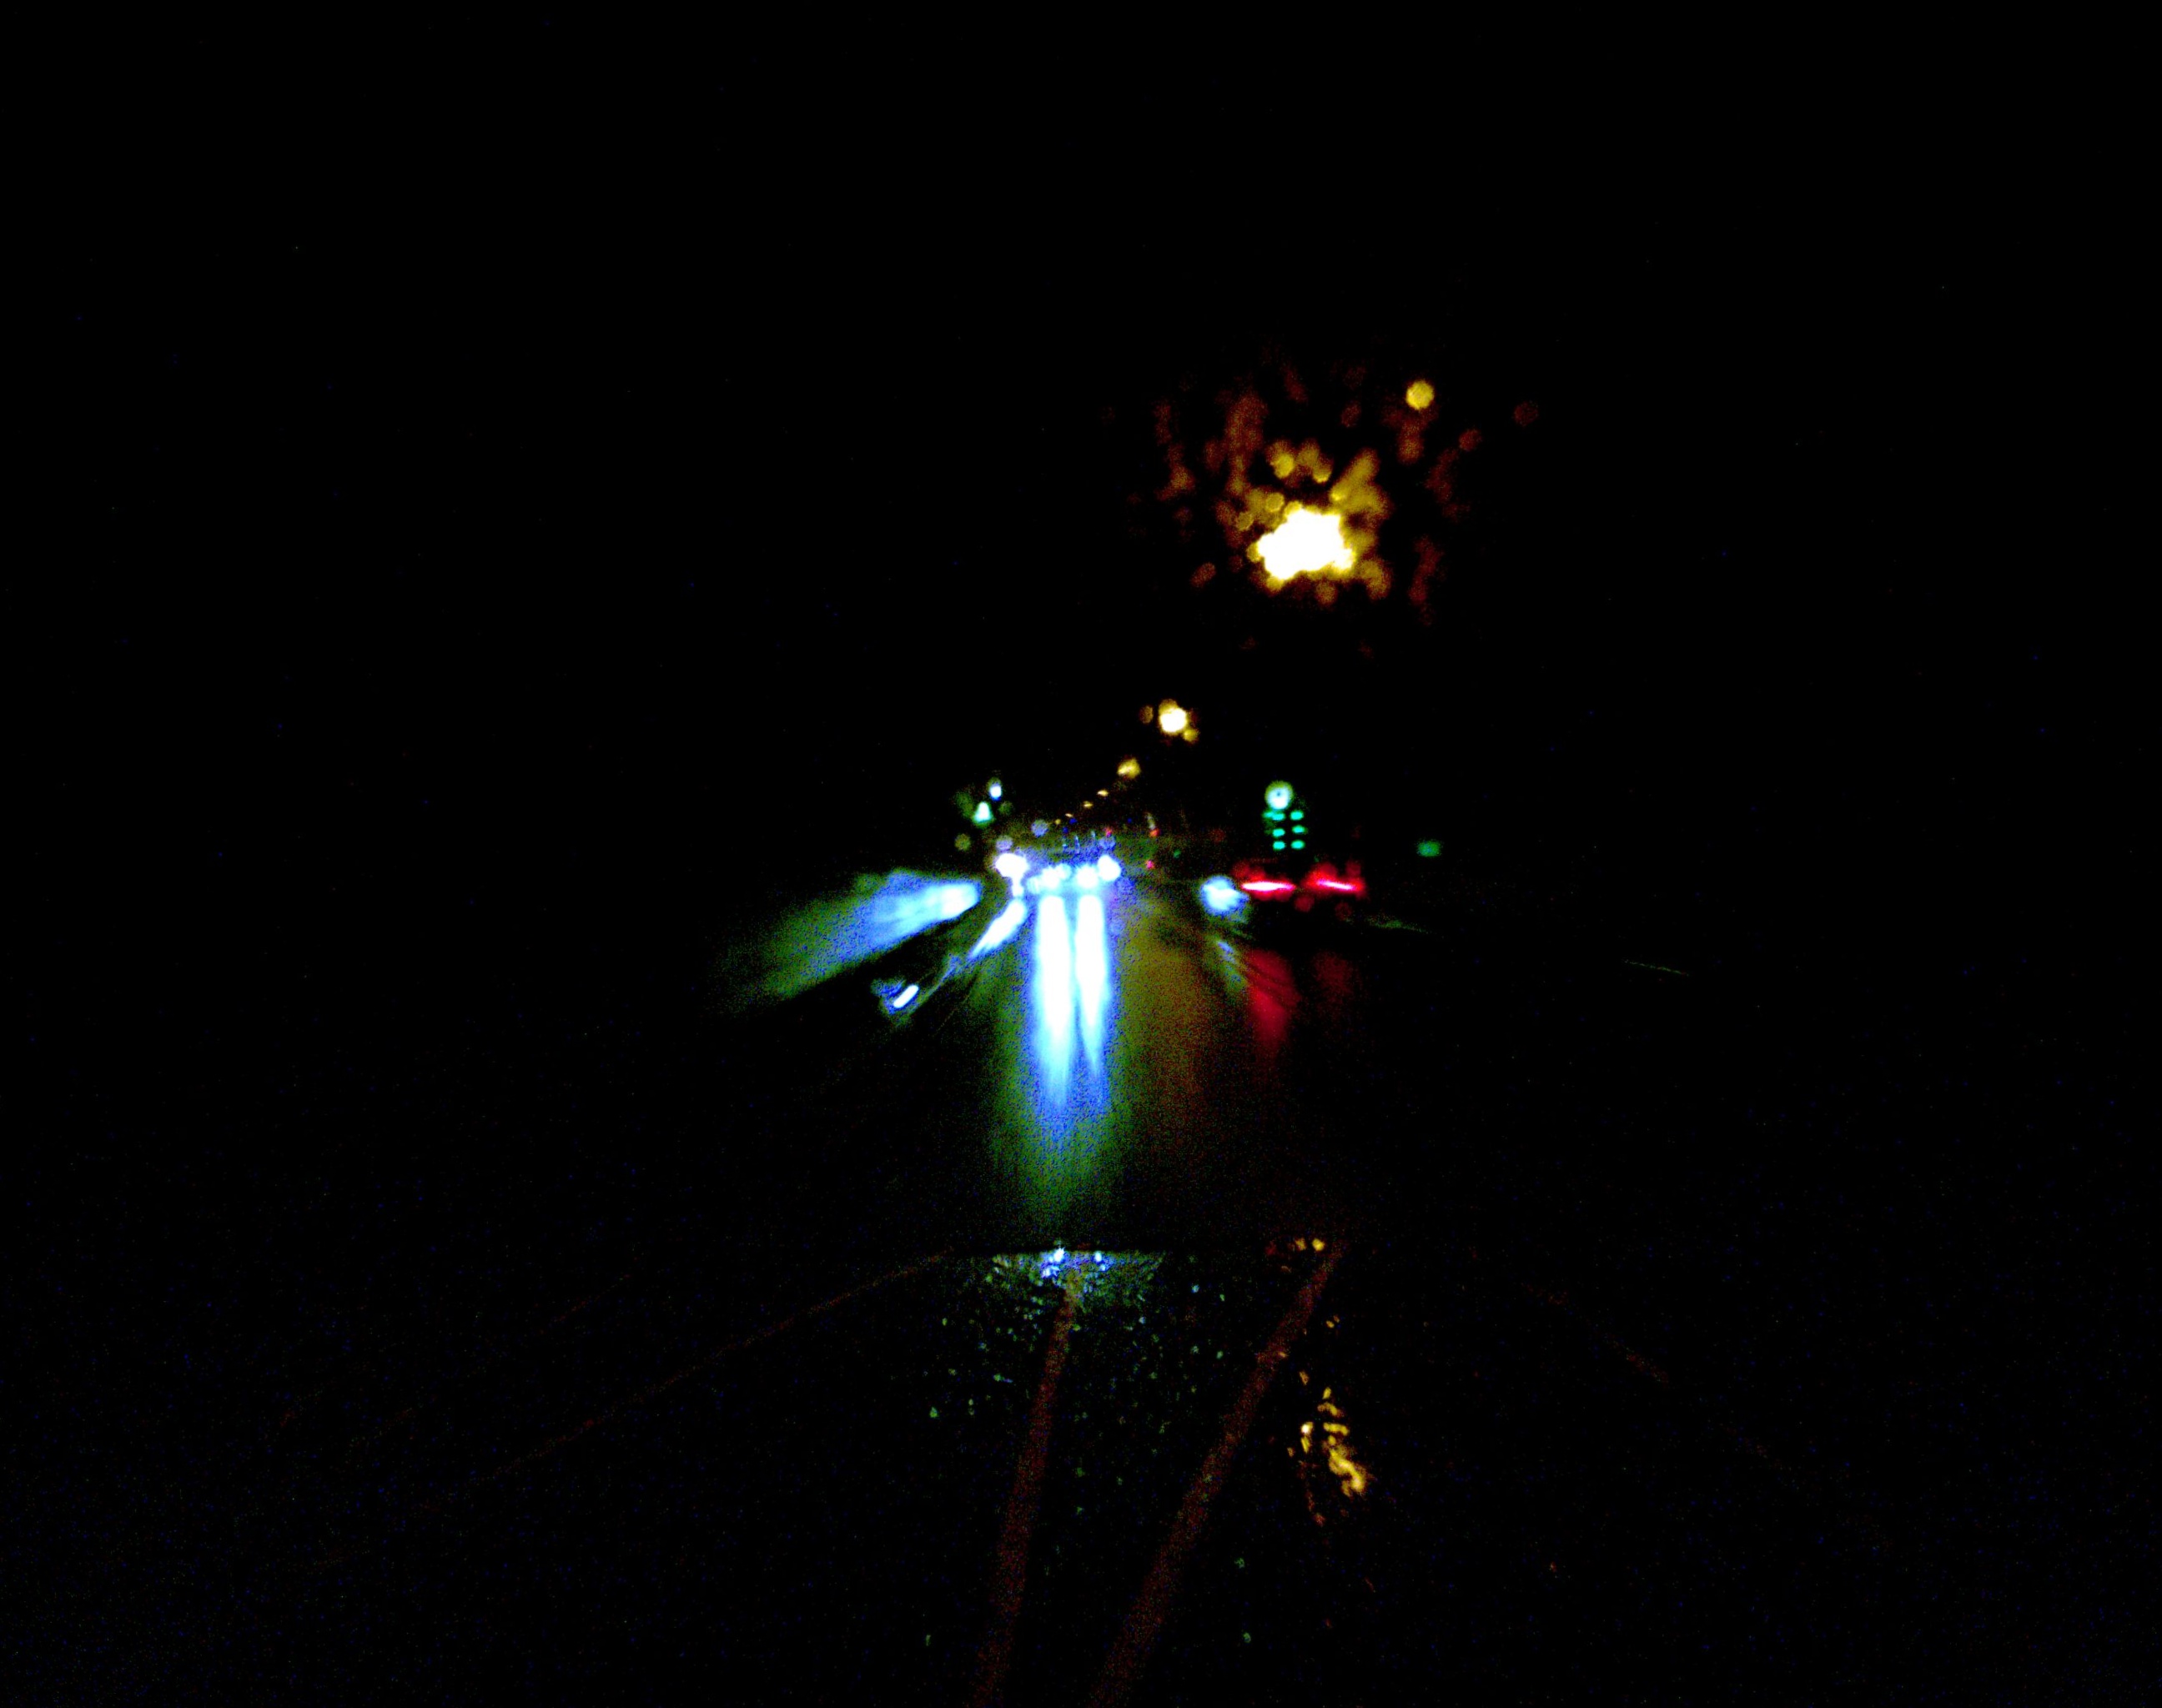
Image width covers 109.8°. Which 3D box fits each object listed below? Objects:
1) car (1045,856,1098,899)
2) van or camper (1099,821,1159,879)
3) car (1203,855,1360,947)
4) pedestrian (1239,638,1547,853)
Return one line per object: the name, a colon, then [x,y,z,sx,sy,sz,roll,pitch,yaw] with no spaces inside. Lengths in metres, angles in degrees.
car: [-0.461,0.904,31.377,1.999,1.547,3.998,-2,1,-3]
van or camper: [2.509,-0.243,41.946,2.420,2.866,6.675,-2,1,-3]
car: [3.634,0.777,14.676,1.839,1.375,4.646,-3,0,1]
pedestrian: [3.460,-1.075,9.378,1.999,2.002,3.999,-2,1,-2]
